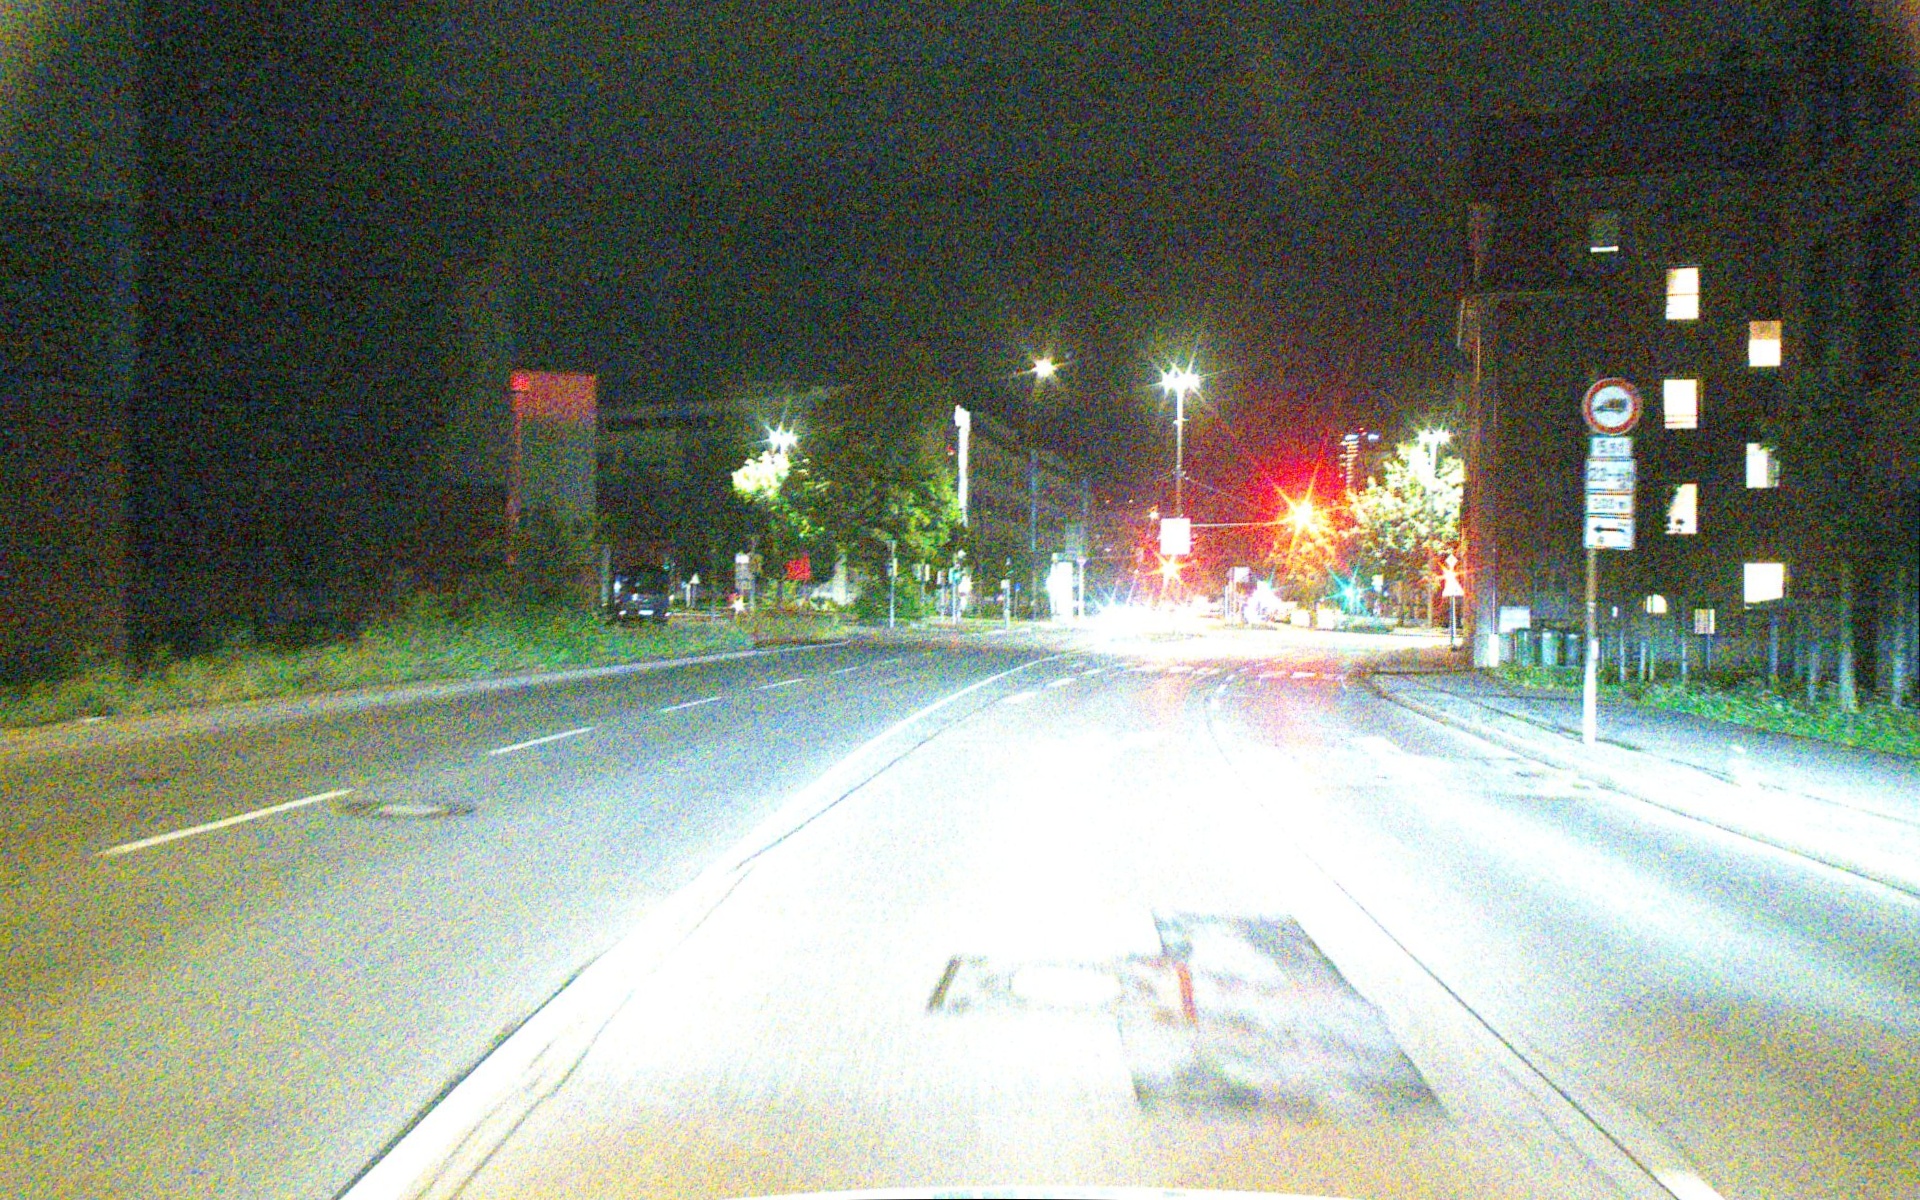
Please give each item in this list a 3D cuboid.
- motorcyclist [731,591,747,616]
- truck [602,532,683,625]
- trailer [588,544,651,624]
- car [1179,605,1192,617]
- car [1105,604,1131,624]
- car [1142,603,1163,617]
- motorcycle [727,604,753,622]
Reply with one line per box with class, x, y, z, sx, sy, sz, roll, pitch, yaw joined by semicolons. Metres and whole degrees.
motorcyclist;-11.732;0.189;87.731;0.640;1.283;0.573;1;-1;-31
truck;-14.392;-0.873;74.434;2.889;3.863;9.519;1;0;-15
trailer;-17.463;-0.769;84.576;2.572;3.857;6.484;1;0;-17
car;34.523;1.704;253.208;1.720;1.758;3.550;1;0;11
car;12.366;1.097;129.533;1.581;1.541;4.003;1;0;11
car;18.523;0.990;158.994;1.720;1.345;3.550;1;0;11
motorcycle;-11.701;0.674;88.037;0.572;0.911;2.133;-2;1;-31
